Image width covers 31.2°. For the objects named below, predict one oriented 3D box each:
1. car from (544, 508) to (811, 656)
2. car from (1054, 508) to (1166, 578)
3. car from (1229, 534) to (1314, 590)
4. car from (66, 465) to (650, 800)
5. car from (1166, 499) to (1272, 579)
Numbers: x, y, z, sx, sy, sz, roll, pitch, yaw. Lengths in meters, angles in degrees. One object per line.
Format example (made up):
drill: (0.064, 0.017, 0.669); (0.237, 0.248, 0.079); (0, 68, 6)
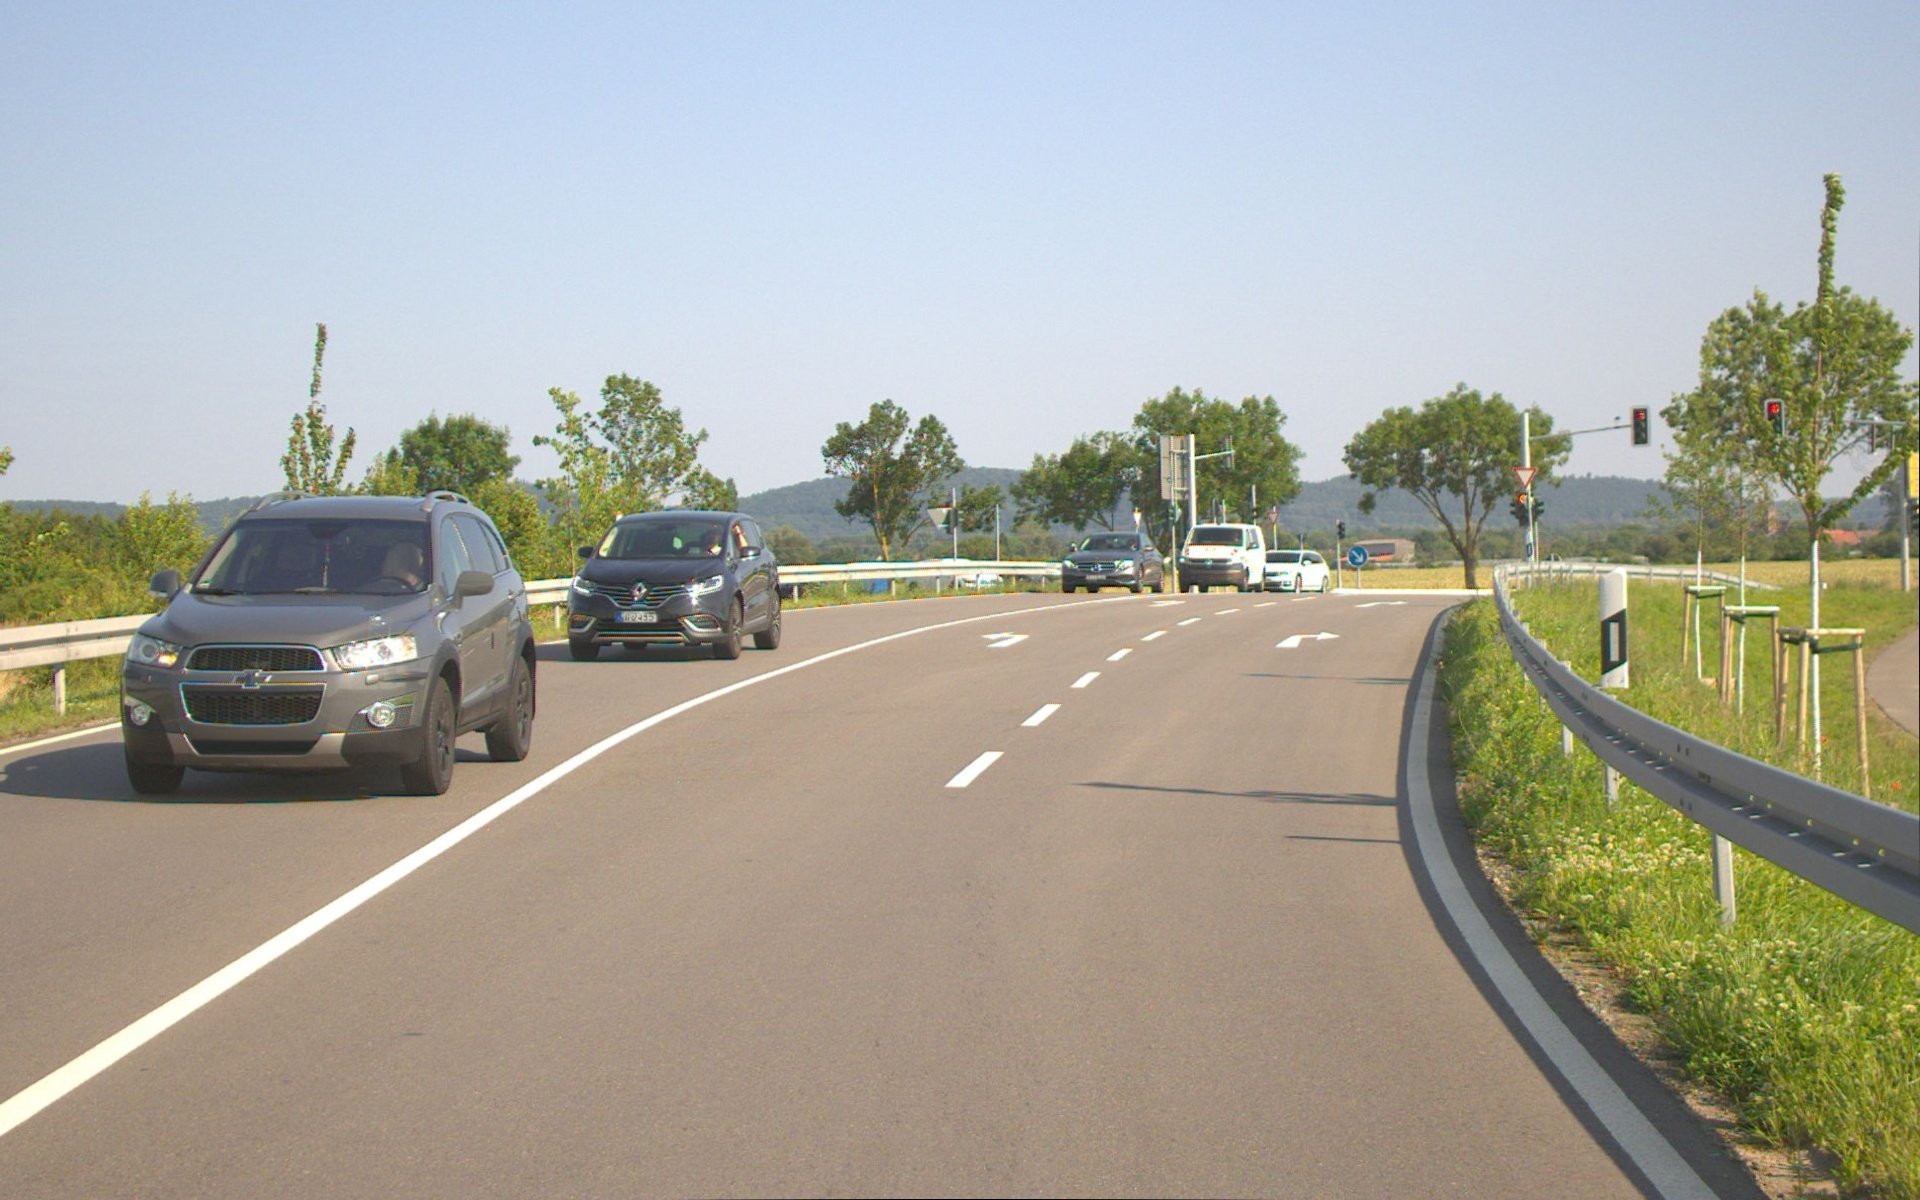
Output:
car: (-3.188, -0.252, 39.888); (1.994, 1.587, 4.861); (1, 1, 9)
car: (3.589, -1.379, 81.537); (1.795, 1.443, 4.703); (1, 3, 13)
car: (9.880, -1.225, 108.679); (2.116, 1.488, 5.151); (1, 3, 11)
car: (-3.507, 0.211, 21.164); (1.883, 1.792, 5.089); (1, -1, 10)
car: (7.317, -1.753, 96.636); (2.116, 2.006, 5.151); (1, 3, 14)
